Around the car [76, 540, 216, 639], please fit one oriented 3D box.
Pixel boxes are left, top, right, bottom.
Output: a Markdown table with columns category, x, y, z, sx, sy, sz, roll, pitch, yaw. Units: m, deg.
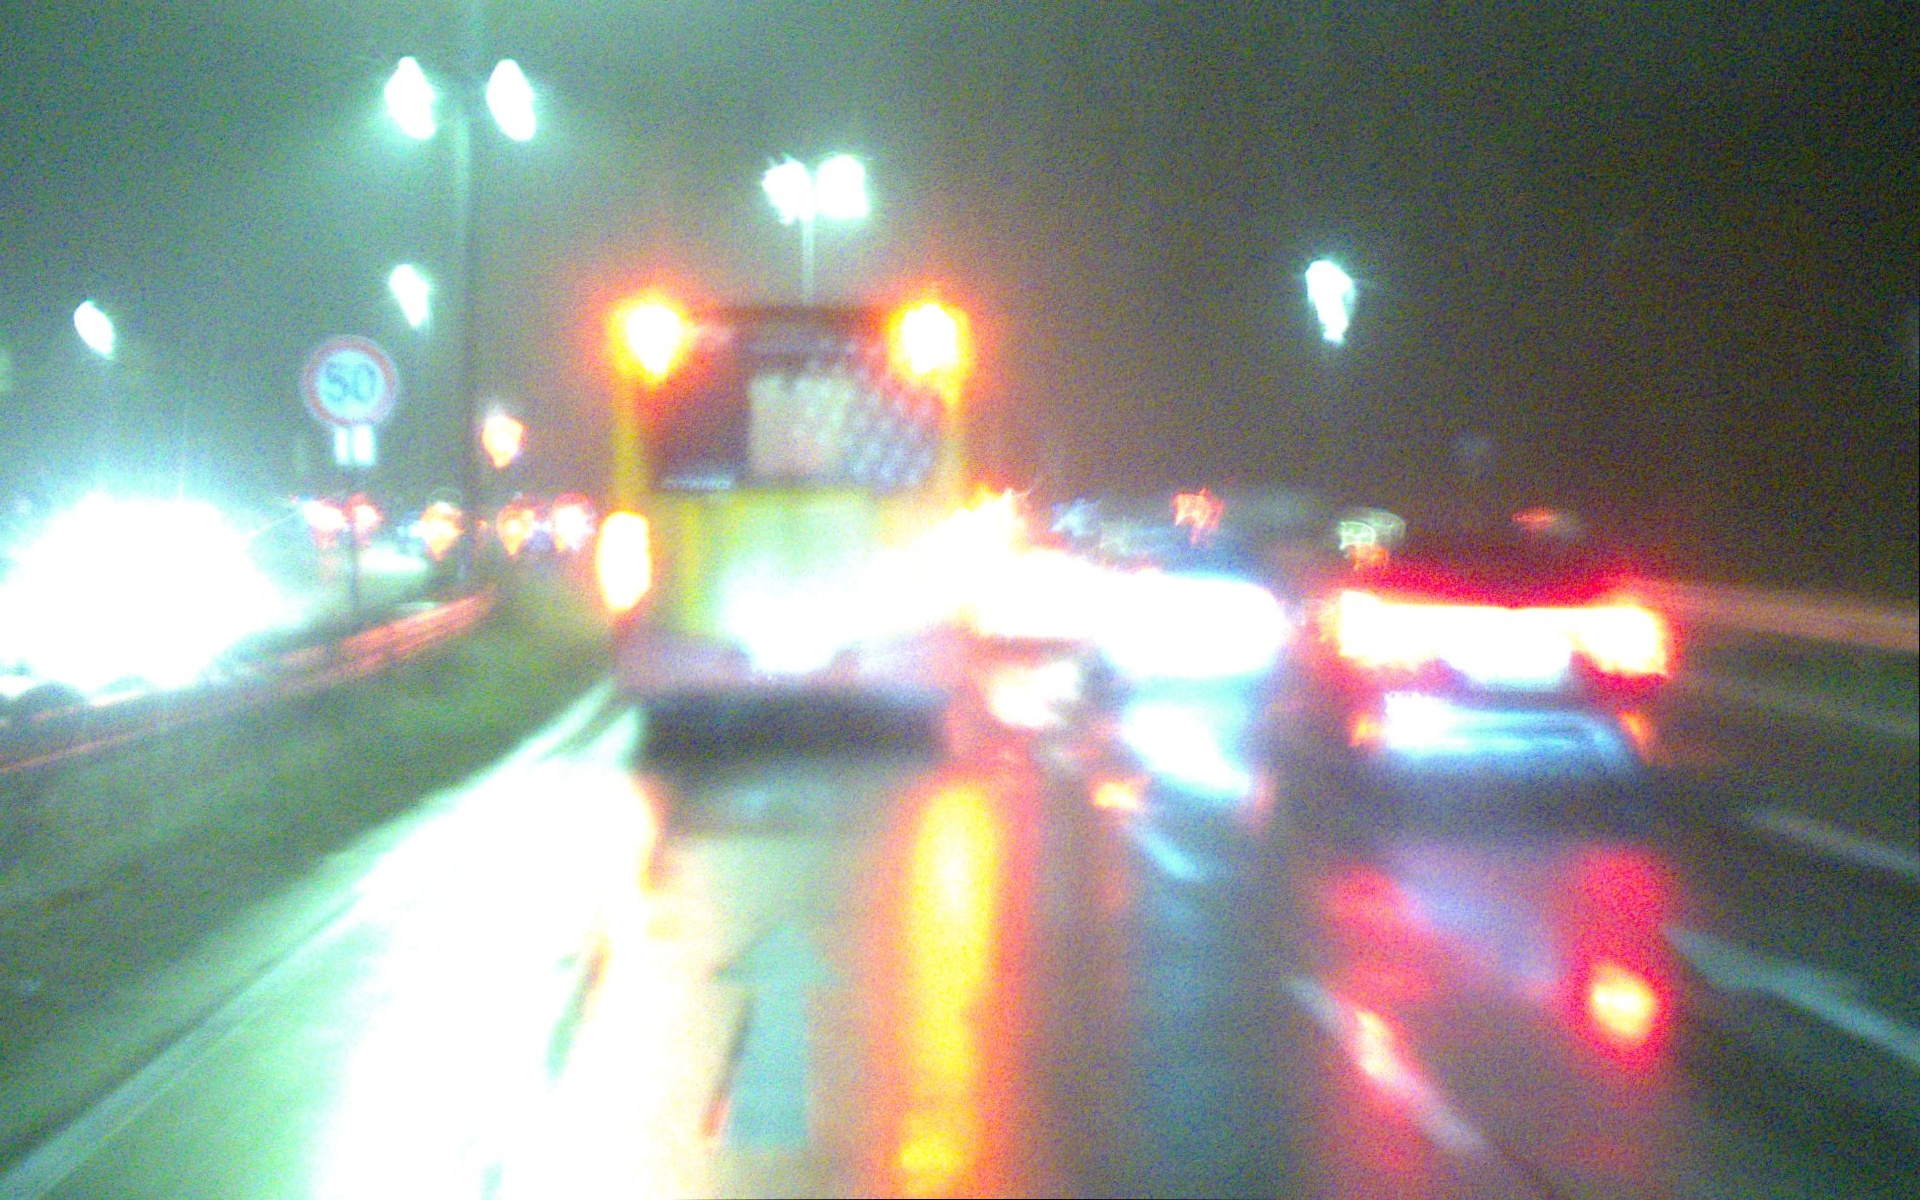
| category | x | y | z | sx | sy | sz | roll | pitch | yaw |
| --- | --- | --- | --- | --- | --- | --- | --- | --- | --- |
| car | -14.705 | -0.223 | 62.286 | 1.808 | 1.563 | 4.001 | -4 | 2 | -5 |

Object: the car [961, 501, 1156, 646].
| category | x | y | z | sx | sy | sz | roll | pitch | yaw |
| --- | --- | --- | --- | --- | --- | --- | --- | --- | --- |
| car | 1.095 | -0.338 | 40.071 | 1.819 | 1.585 | 3.777 | -1 | 1 | -5 |

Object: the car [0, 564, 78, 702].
| category | x | y | z | sx | sy | sz | roll | pitch | yaw |
| --- | --- | --- | --- | --- | --- | --- | --- | --- | --- |
| car | -11.780 | 0.400 | 41.340 | 1.567 | 1.537 | 4.163 | -4 | 1 | -6 |

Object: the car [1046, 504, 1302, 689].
| category | x | y | z | sx | sy | sz | roll | pitch | yaw |
| --- | --- | --- | --- | --- | --- | --- | --- | --- | --- |
| car | 1.930 | -0.074 | 32.085 | 1.819 | 1.585 | 3.777 | -1 | 1 | -5 |

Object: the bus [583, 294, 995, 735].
| category | x | y | z | sx | sy | sz | roll | pitch | yaw |
| --- | --- | --- | --- | --- | --- | --- | --- | --- | --- |
| bus | -1.444 | -0.673 | 27.925 | 2.815 | 3.013 | 8.689 | 0 | 1 | -4 |

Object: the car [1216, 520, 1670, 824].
| category | x | y | z | sx | sy | sz | roll | pitch | yaw |
| --- | --- | --- | --- | --- | --- | --- | --- | --- | --- |
| car | 2.632 | 0.332 | 19.586 | 1.739 | 1.559 | 3.777 | 0 | 1 | -5 |

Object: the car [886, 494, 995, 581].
| category | x | y | z | sx | sy | sz | roll | pitch | yaw |
| --- | --- | --- | --- | --- | --- | --- | --- | --- | --- |
| car | -0.384 | -1.162 | 63.298 | 1.779 | 1.538 | 3.875 | 0 | 1 | -4 |

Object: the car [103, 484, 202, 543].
| category | x | y | z | sx | sy | sz | roll | pitch | yaw |
| --- | --- | --- | --- | --- | --- | --- | --- | --- | --- |
| car | -28.594 | -3.048 | 121.670 | 1.994 | 2.007 | 3.999 | 0 | 1 | -36 |

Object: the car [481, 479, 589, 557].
| category | x | y | z | sx | sy | sz | roll | pitch | yaw |
| --- | --- | --- | --- | --- | --- | --- | --- | --- | --- |
| car | -11.359 | -2.168 | 91.681 | 1.993 | 2.007 | 4.001 | 1 | 1 | -20 |

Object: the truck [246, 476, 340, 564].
| category | x | y | z | sx | sy | sz | roll | pitch | yaw |
| --- | --- | --- | --- | --- | --- | --- | --- | --- | --- |
| truck | -20.091 | -2.440 | 103.382 | 1.855 | 2.384 | 4.781 | -3 | 5 | -21 |

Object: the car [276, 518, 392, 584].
| category | x | y | z | sx | sy | sz | roll | pitch | yaw |
| --- | --- | --- | --- | --- | --- | --- | --- | --- | --- |
| car | -19.751 | -1.557 | 108.410 | 2.211 | 2.007 | 4.000 | -2 | 2 | -32 |
